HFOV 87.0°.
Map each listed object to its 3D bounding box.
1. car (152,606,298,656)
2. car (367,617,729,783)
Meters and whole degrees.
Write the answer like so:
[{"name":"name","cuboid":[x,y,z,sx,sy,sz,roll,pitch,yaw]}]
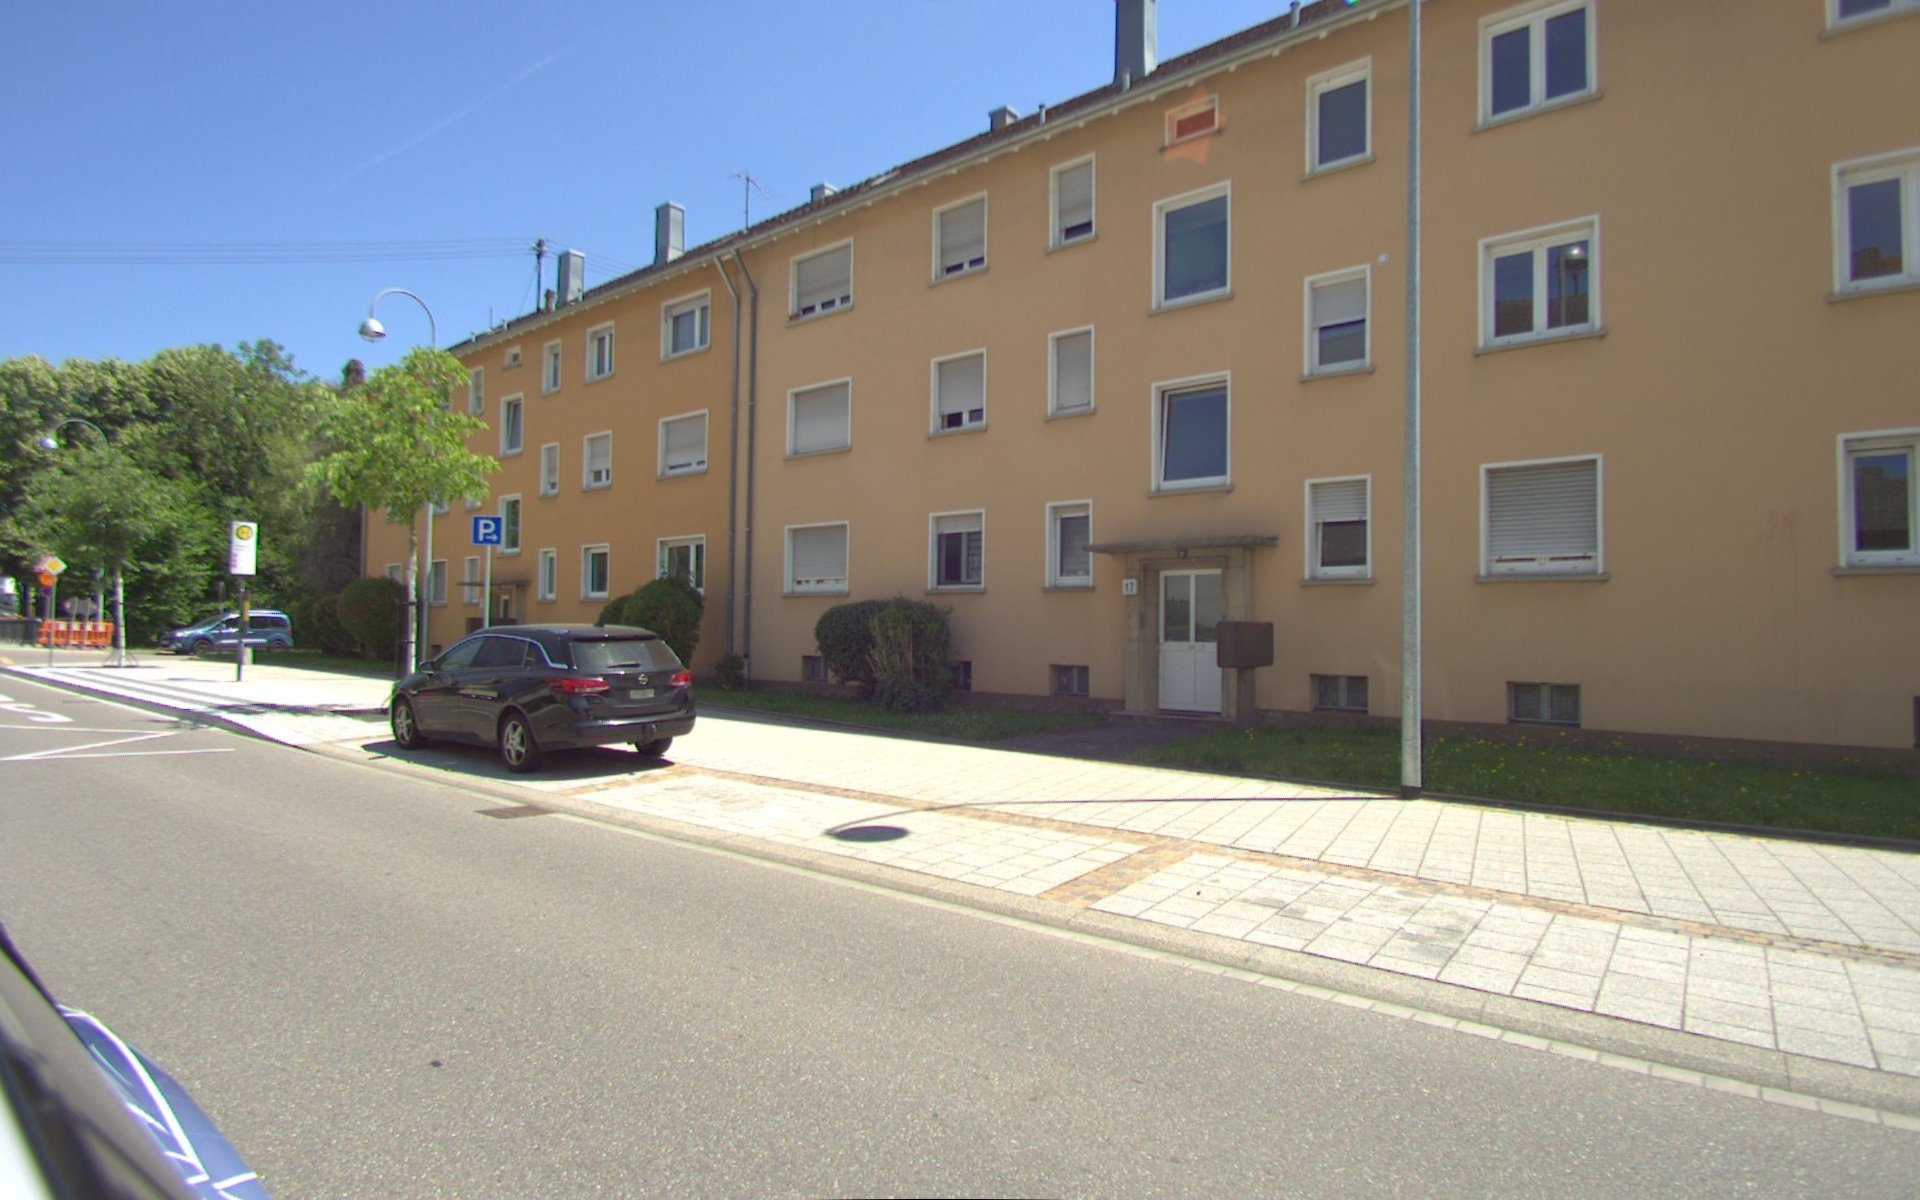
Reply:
[{"name":"car","cuboid":[-29.659,1.284,40.984,1.811,1.888,4.393,0,-3,29]},{"name":"car","cuboid":[-4.838,0.980,11.568,4.556,1.518,1.839,-1,-1,38]}]
